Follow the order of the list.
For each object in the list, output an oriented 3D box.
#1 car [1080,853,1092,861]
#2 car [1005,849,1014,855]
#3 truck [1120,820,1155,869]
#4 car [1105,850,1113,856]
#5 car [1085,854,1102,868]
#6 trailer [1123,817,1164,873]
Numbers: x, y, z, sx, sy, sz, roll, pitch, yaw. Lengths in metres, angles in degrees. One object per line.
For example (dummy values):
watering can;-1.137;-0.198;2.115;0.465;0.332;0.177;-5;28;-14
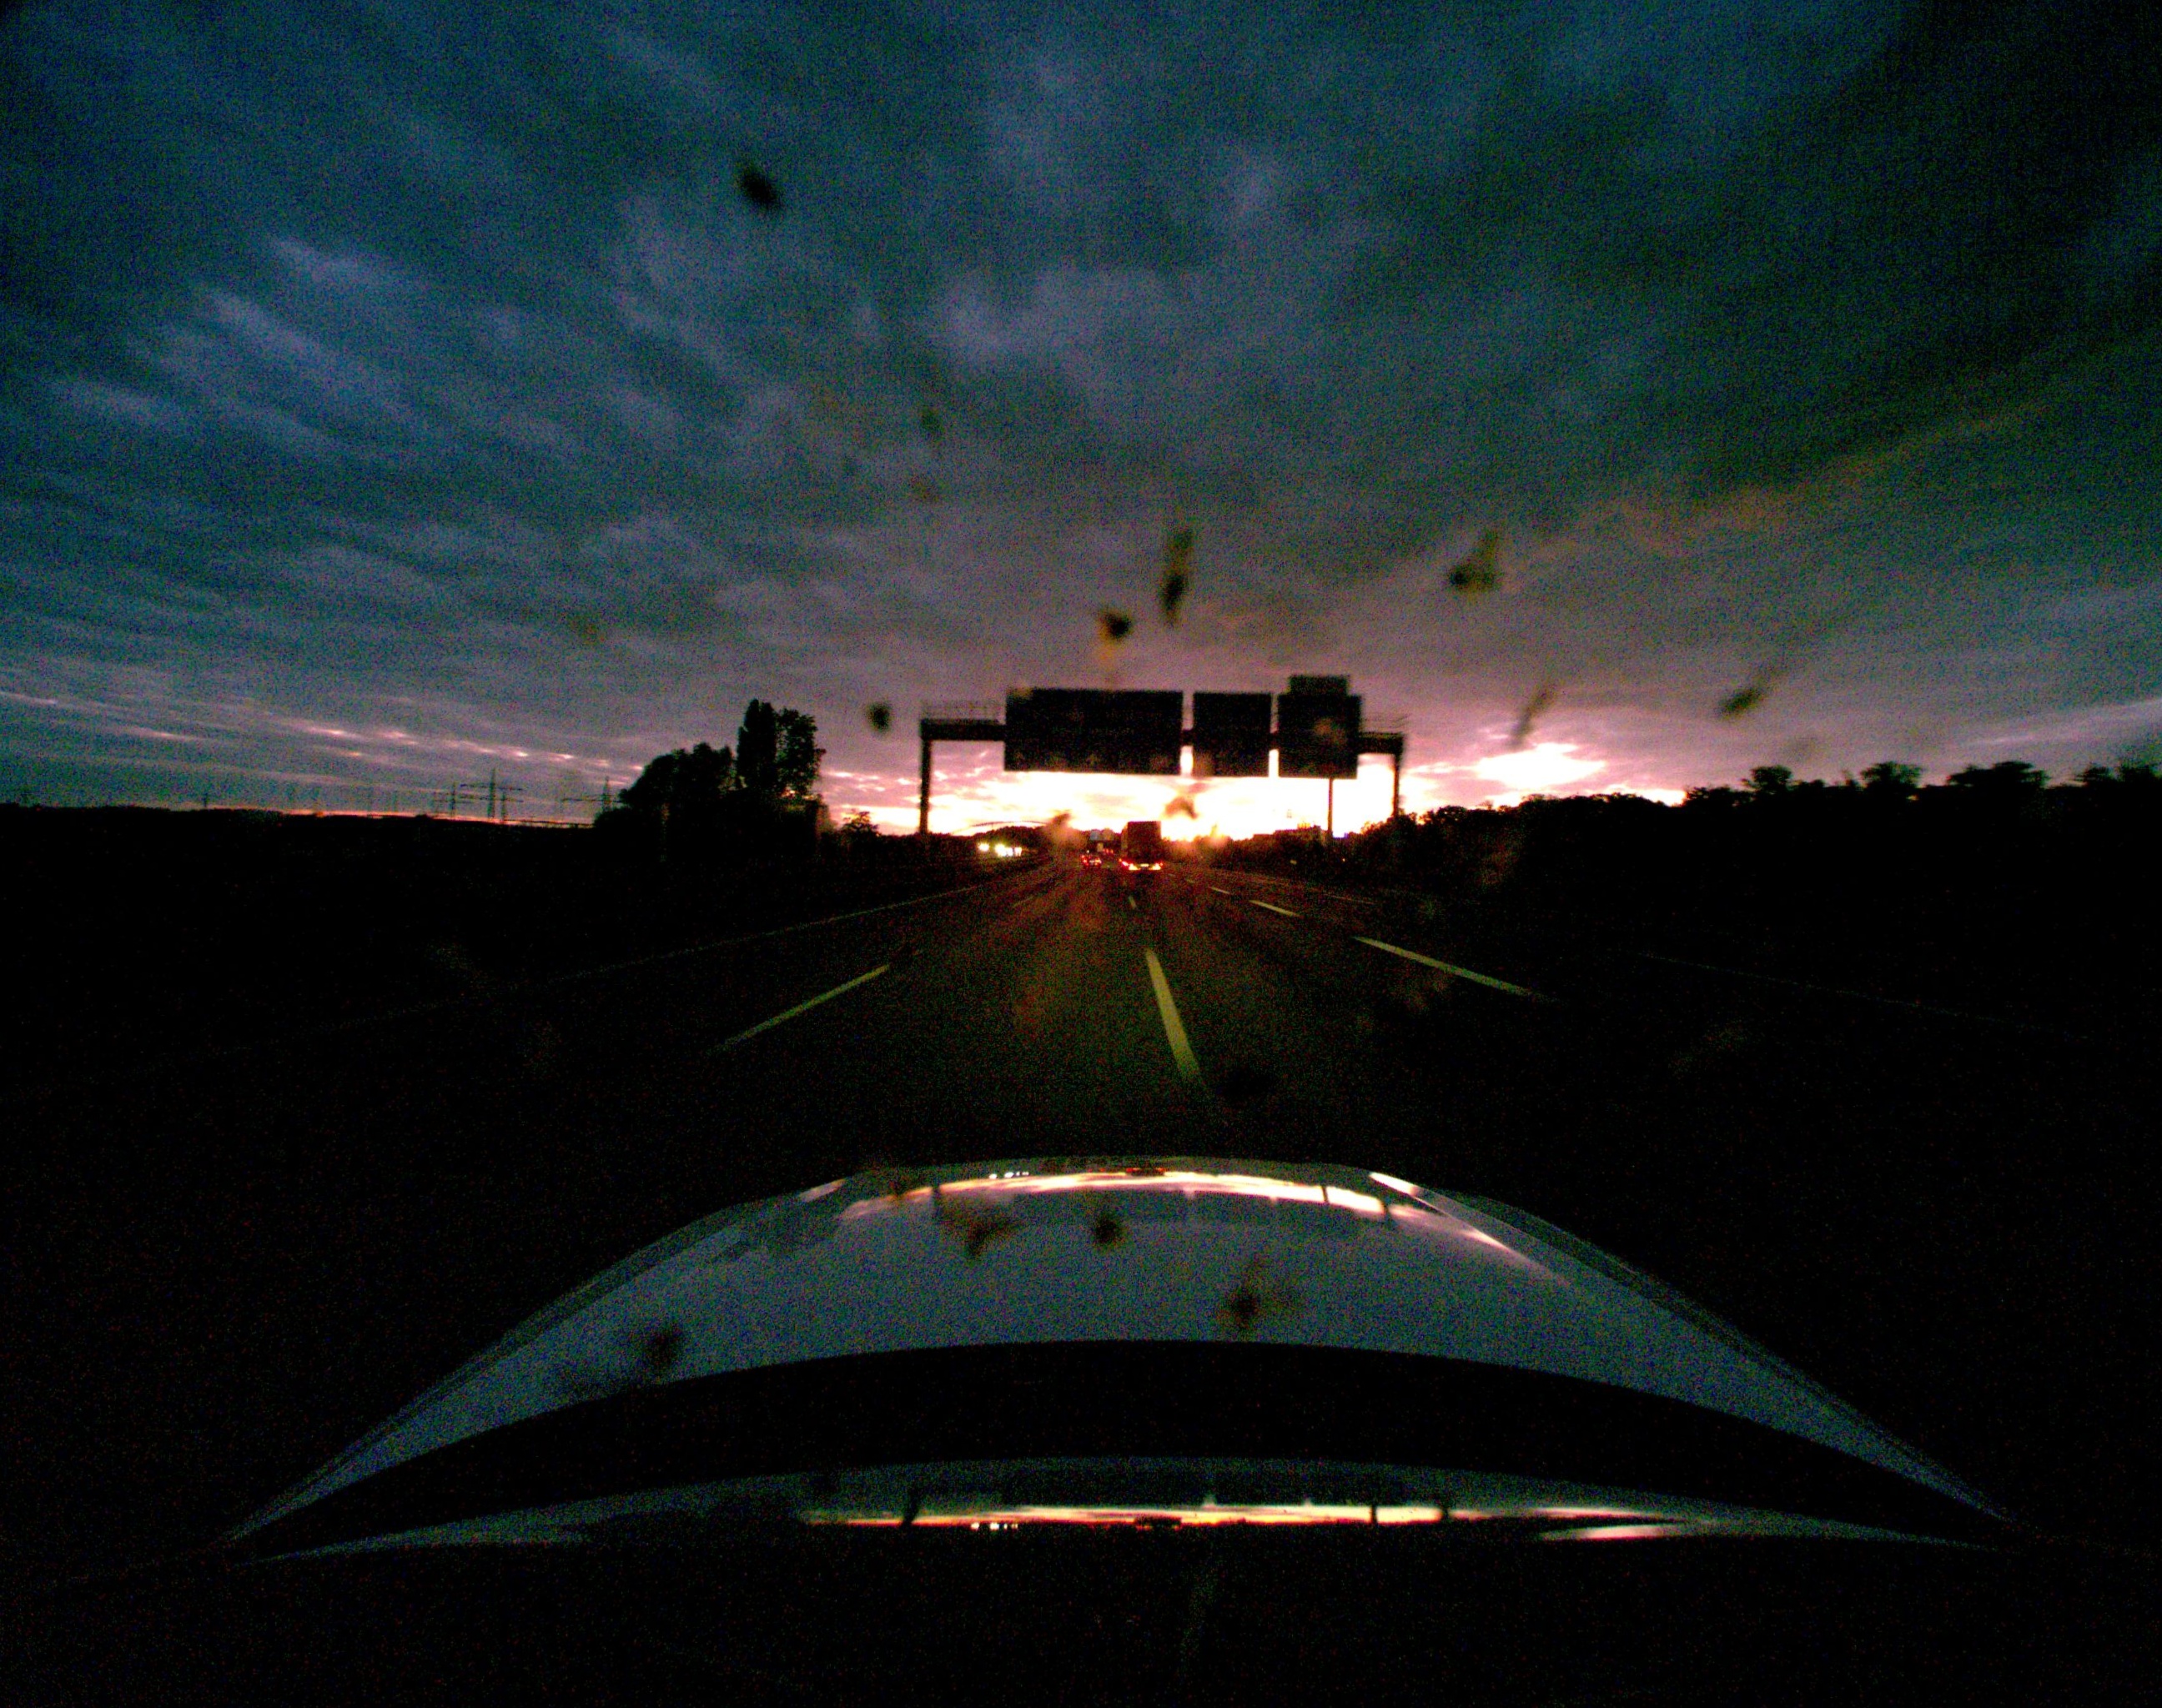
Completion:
car;0.871;0.519;135.894;1.681;1.401;3.413;-1;-1;5
car;-17.092;-0.585;194.747;1.988;1.358;4.863;0;1;-1
truck;5.000;-0.860;73.641;2.681;4.071;10.523;0;1;1
car;8.153;-0.377;235.312;1.990;1.717;3.993;0;-1;-4
car;1.276;0.730;86.783;1.685;1.401;3.406;0;-1;-1
trailer;4.796;-0.736;63.990;2.712;4.071;8.833;0;1;1
